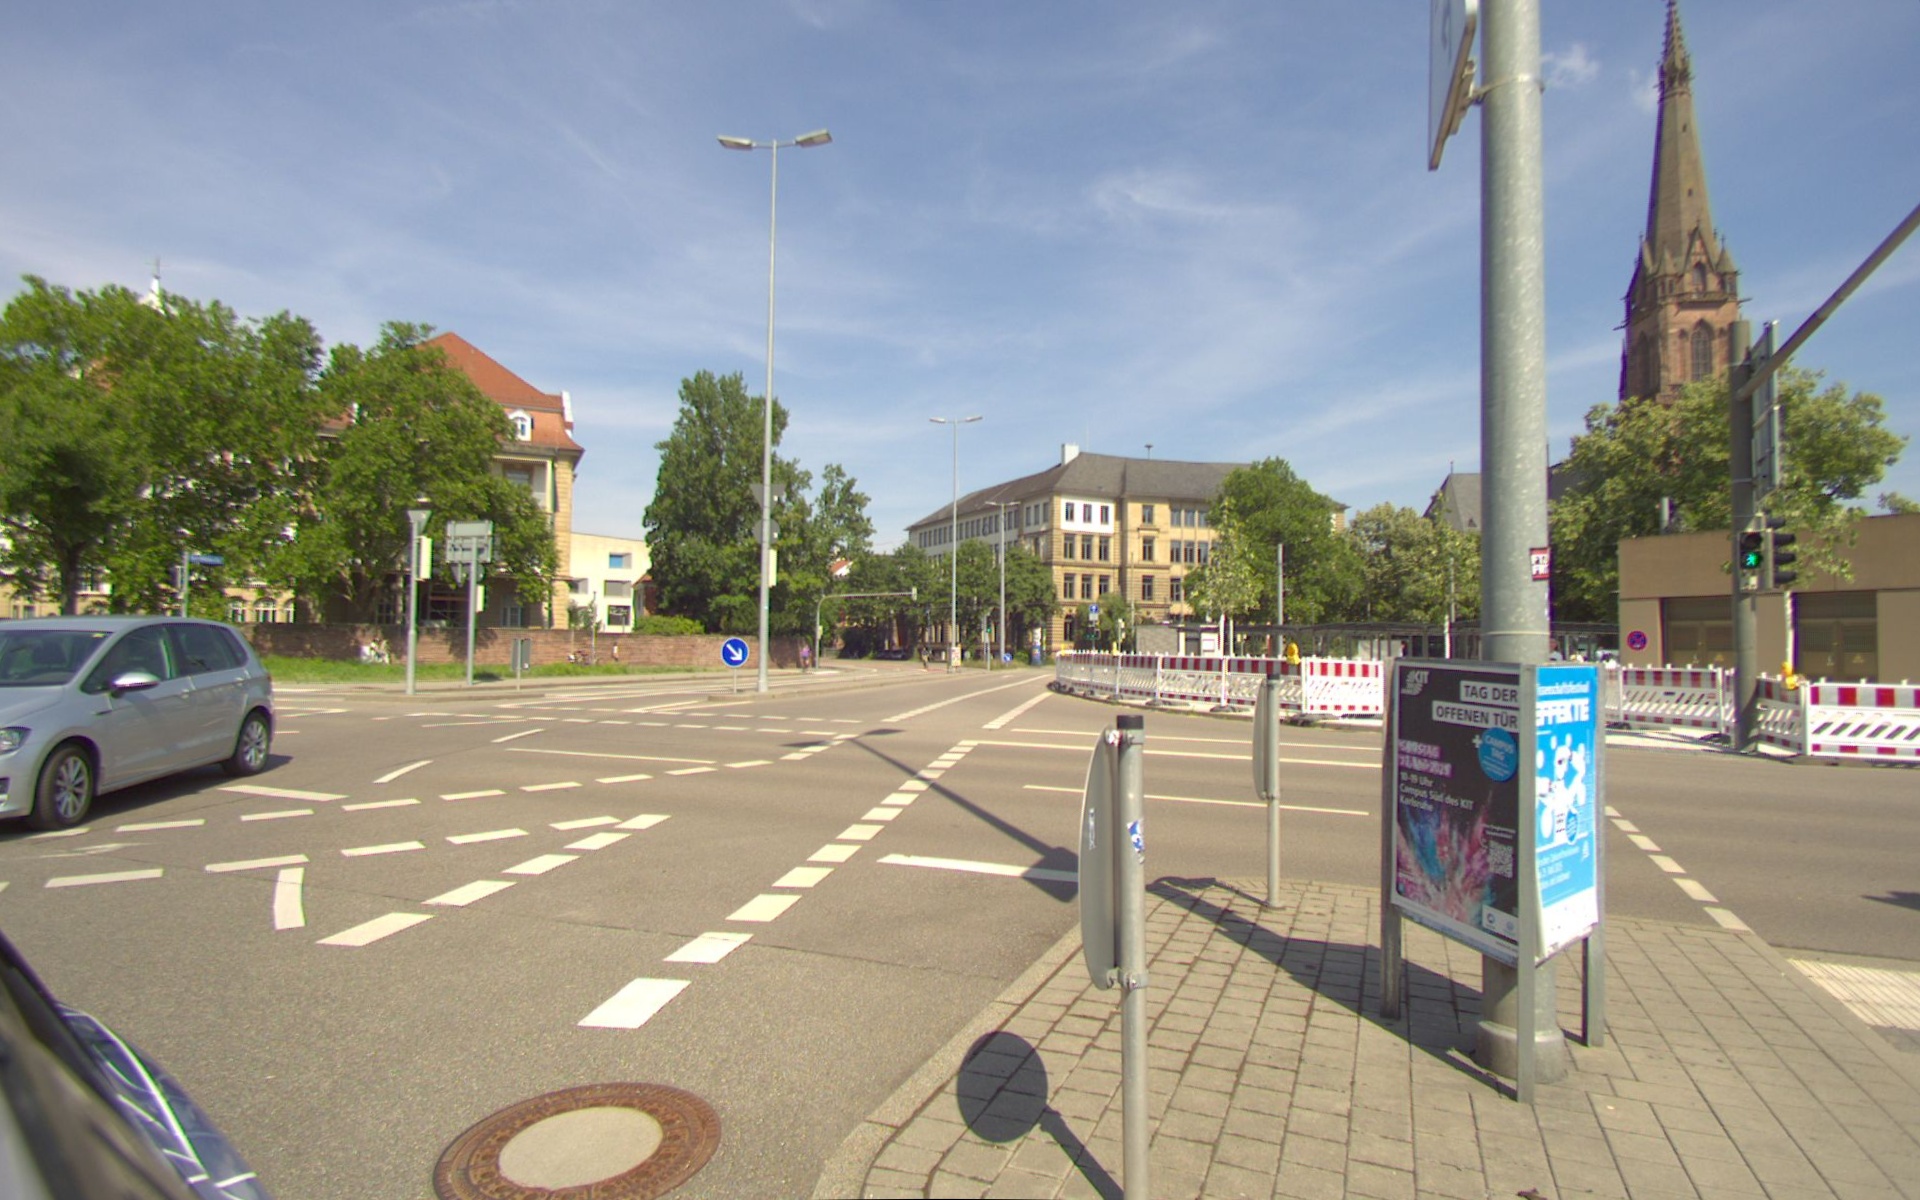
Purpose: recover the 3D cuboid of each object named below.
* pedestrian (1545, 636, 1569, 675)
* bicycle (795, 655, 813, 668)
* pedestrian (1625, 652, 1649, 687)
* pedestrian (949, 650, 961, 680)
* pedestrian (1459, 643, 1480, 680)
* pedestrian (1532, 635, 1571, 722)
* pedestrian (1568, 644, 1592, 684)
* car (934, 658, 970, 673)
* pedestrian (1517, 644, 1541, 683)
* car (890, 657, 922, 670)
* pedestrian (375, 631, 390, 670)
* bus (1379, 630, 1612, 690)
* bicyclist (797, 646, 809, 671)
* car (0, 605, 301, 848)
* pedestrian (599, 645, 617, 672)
[{"bbox_3d":[31.247,2.887,52.931,0.806,2.029,0.689,1,-3,-22],"label":"pedestrian"},{"bbox_3d":[-10.545,4.151,68.366,0.677,0.894,1.929,0,-3,6],"label":"bicycle"},{"bbox_3d":[32.849,3.354,49.128,0.807,1.674,0.746,4,-4,-40],"label":"pedestrian"},{"bbox_3d":[-0.332,4.352,68.038,0.783,2.029,0.617,1,-4,-6],"label":"pedestrian"},{"bbox_3d":[28.752,3.461,57.095,0.806,2.029,0.689,2,-4,-25],"label":"pedestrian"},{"bbox_3d":[10.926,1.434,18.715,0.555,1.577,0.420,-1,-4,25],"label":"pedestrian"},{"bbox_3d":[31.920,3.304,52.088,0.806,2.029,0.689,2,-4,-22],"label":"pedestrian"},{"bbox_3d":[-0.975,7.879,122.038,3.931,1.674,2.006,0,-1,-26],"label":"car"},{"bbox_3d":[30.034,3.375,53.432,0.806,2.029,0.689,2,-4,-22],"label":"pedestrian"},{"bbox_3d":[-7.428,8.754,139.777,3.931,1.674,2.006,0,-1,-27],"label":"car"},{"bbox_3d":[-30.754,2.699,53.897,0.586,2.029,0.525,2,-4,-32],"label":"pedestrian"},{"bbox_3d":[30.898,3.584,59.424,3.079,3.118,12.451,0,-4,-27],"label":"bus"},{"bbox_3d":[-10.670,3.989,68.858,0.482,1.649,1.083,0,-3,5],"label":"bicyclist"},{"bbox_3d":[-7.370,0.863,8.278,1.662,1.598,4.159,1,-2,-8],"label":"car"},{"bbox_3d":[-20.951,3.481,60.239,0.898,1.560,0.505,2,-4,-28],"label":"pedestrian"}]
